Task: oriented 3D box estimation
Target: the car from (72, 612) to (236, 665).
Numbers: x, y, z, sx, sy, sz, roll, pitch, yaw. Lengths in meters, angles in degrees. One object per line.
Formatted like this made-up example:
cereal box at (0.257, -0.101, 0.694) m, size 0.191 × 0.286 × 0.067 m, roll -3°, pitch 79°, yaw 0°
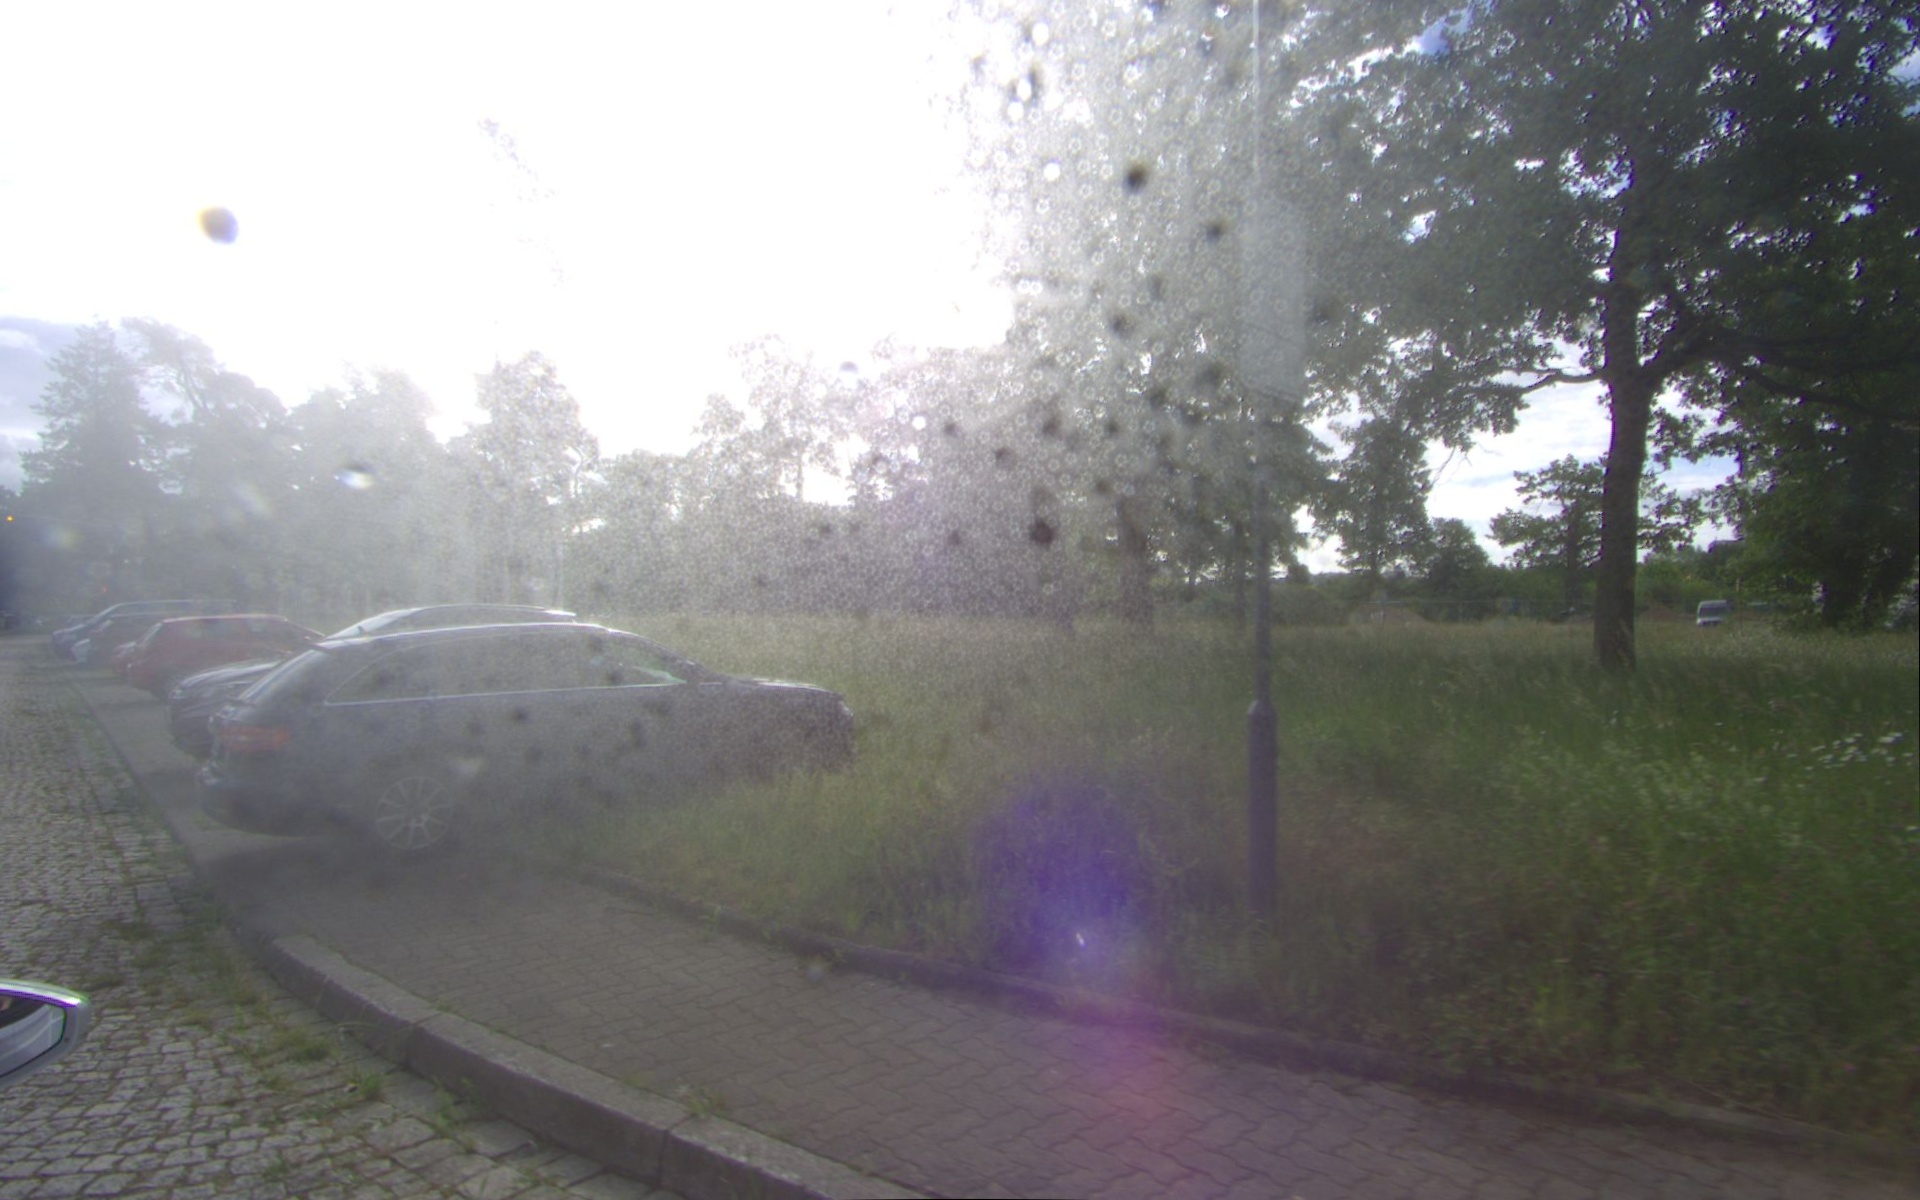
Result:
car at (-24.465, 1.119, 30.470) m, size 1.637 × 1.443 × 3.700 m, roll 0°, pitch 1°, yaw 44°

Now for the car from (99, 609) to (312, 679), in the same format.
car at (-18.112, 1.000, 24.141) m, size 3.960 × 1.538 × 1.721 m, roll 0°, pitch 0°, yaw -44°

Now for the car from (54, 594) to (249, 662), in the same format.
car at (-26.033, 0.858, 32.390) m, size 1.720 × 2.067 × 4.754 m, roll 0°, pitch 0°, yaw 44°

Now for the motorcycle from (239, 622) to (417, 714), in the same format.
motorcycle at (-9.760, 1.013, 15.548) m, size 0.599 × 1.292 × 2.253 m, roll 0°, pitch 0°, yaw 41°

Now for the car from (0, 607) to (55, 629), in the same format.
car at (-89.897, 1.726, 95.461) m, size 1.974 × 2.040 × 5.035 m, roll 0°, pitch -1°, yaw 36°

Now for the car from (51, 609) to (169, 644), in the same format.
car at (-40.428, 1.223, 47.716) m, size 1.645 × 1.564 × 4.103 m, roll 0°, pitch 0°, yaw 41°

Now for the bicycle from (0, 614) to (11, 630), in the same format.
bicycle at (-75.818, 1.756, 79.350) m, size 0.804 × 1.285 × 1.955 m, roll 0°, pitch 0°, yaw -42°

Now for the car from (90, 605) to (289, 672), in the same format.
car at (-19.932, 0.952, 26.004) m, size 1.744 × 1.601 × 3.926 m, roll 0°, pitch -1°, yaw 45°

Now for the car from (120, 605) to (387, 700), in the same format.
car at (-13.016, 0.888, 18.588) m, size 3.814 × 1.525 × 1.720 m, roll -1°, pitch 1°, yaw -45°

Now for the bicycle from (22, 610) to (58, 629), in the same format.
bicycle at (-77.666, 1.648, 84.515) m, size 0.803 × 1.637 × 2.151 m, roll 0°, pitch 0°, yaw 40°

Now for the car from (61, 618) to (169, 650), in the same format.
car at (-35.653, 1.401, 42.287) m, size 1.645 × 1.284 × 3.277 m, roll 0°, pitch 0°, yaw 41°

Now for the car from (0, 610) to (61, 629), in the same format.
car at (-86.992, 1.819, 93.751) m, size 1.977 × 1.665 × 3.969 m, roll 0°, pitch -1°, yaw 40°

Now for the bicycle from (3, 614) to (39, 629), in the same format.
bicycle at (-78.844, 1.802, 84.077) m, size 0.803 × 1.285 × 2.151 m, roll 0°, pitch 0°, yaw 40°

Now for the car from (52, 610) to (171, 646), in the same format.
car at (-38.590, 1.255, 45.605) m, size 1.645 × 1.564 × 3.968 m, roll 0°, pitch 0°, yaw 41°

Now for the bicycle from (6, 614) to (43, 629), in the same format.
bicycle at (-77.455, 1.771, 82.937) m, size 0.803 × 1.285 × 2.151 m, roll 0°, pitch 0°, yaw 40°

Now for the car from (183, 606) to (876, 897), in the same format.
car at (-3.003, 0.832, 7.582) m, size 4.468 × 1.484 × 1.879 m, roll -1°, pitch 1°, yaw -40°

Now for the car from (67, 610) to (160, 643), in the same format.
car at (-41.999, 1.291, 49.736) m, size 1.375 × 1.564 × 3.373 m, roll 0°, pitch 0°, yaw 41°

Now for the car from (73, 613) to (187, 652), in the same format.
car at (-33.622, 1.286, 40.636) m, size 1.642 × 1.524 × 3.282 m, roll 0°, pitch 0°, yaw 36°

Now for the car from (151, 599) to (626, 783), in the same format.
car at (-6.141, 0.808, 11.093) m, size 4.234 × 1.594 × 1.877 m, roll -1°, pitch 1°, yaw -44°
